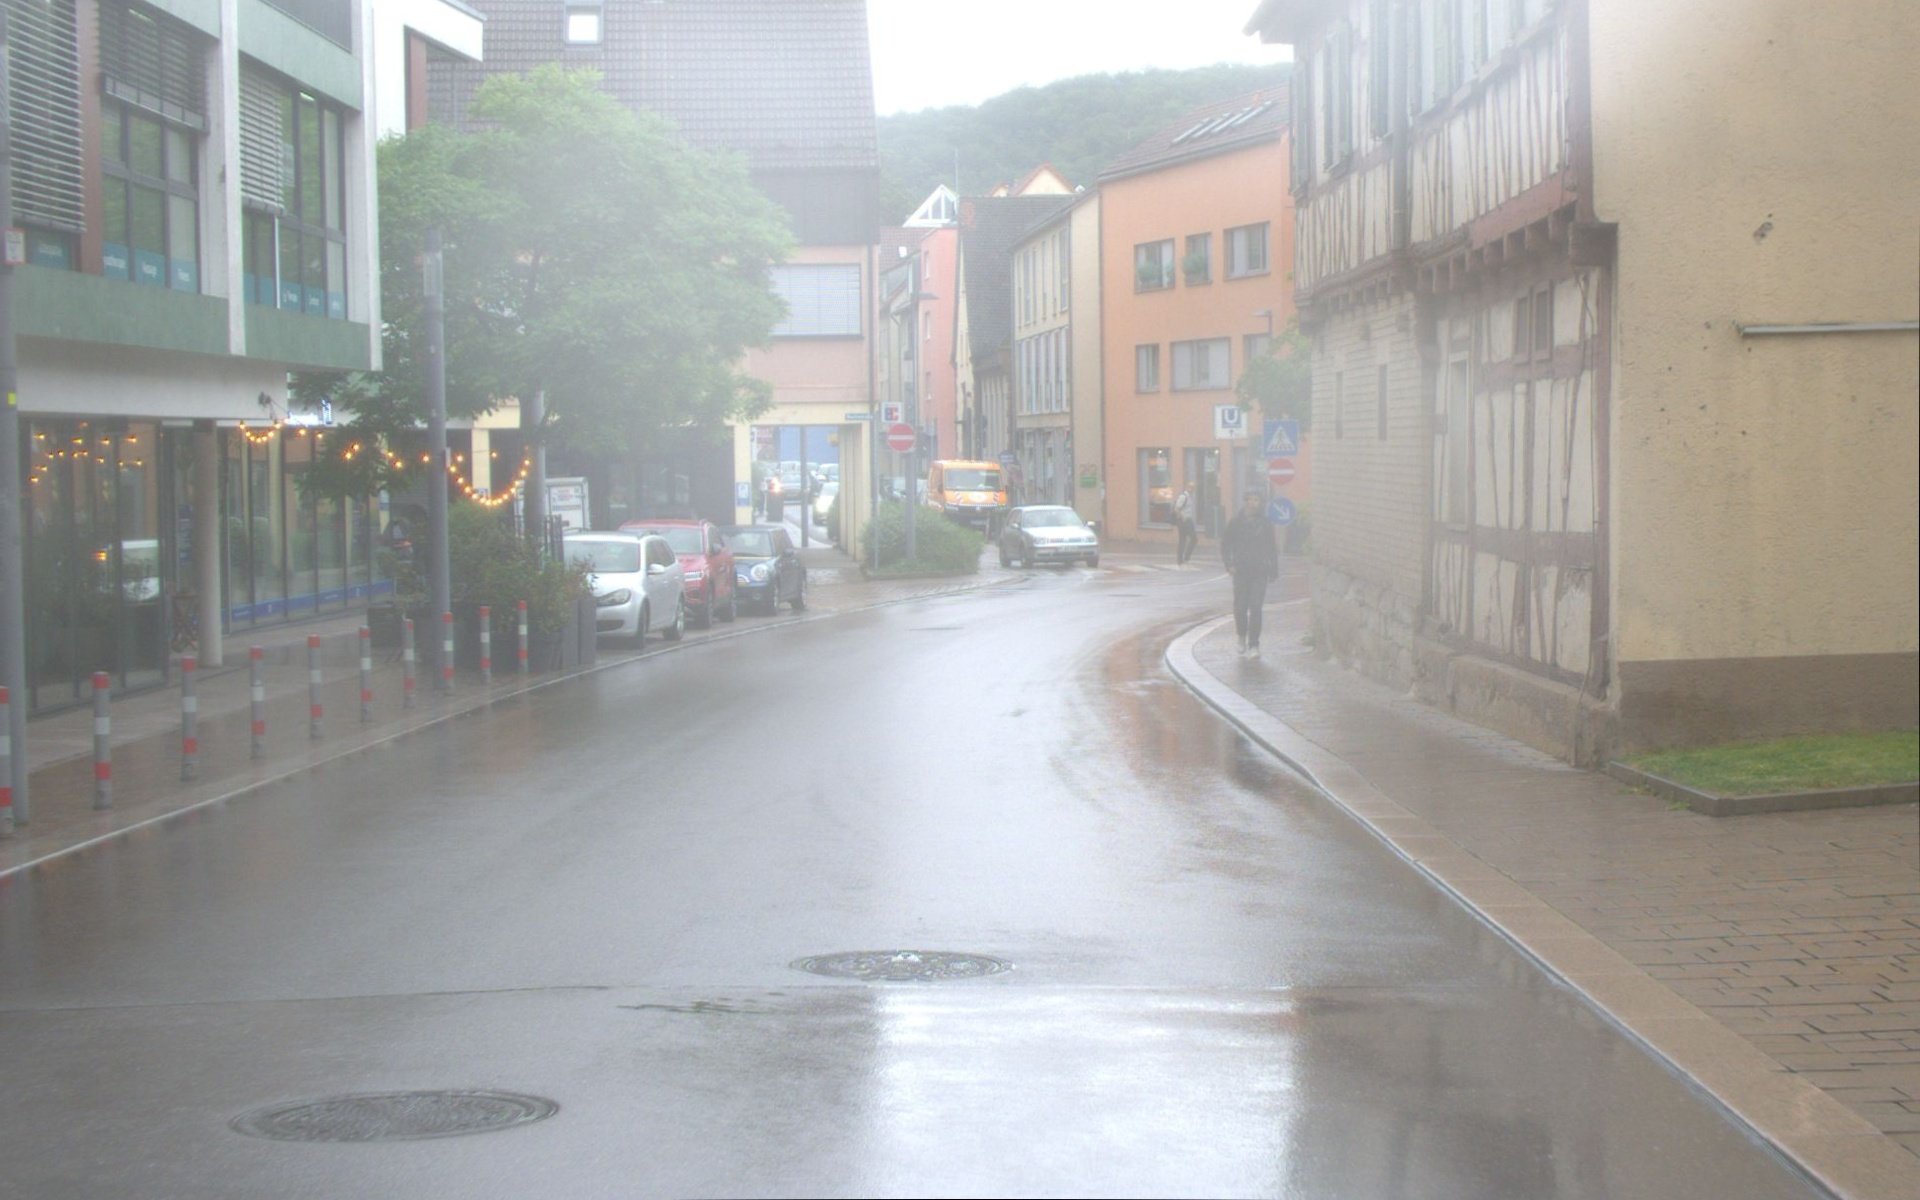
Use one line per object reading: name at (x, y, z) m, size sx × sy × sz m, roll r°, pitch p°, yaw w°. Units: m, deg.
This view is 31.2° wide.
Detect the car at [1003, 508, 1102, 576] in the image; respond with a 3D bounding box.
car at (2.094, -1.333, 78.477) m, size 1.790 × 1.412 × 4.030 m, roll -3°, pitch 1°, yaw -4°

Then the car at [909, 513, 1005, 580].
car at (-0.086, -1.241, 78.660) m, size 1.714 × 1.453 × 3.911 m, roll 0°, pitch 2°, yaw -7°

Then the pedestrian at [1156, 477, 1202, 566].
pedestrian at (4.735, -1.706, 74.319) m, size 0.861 × 1.908 × 0.757 m, roll 0°, pitch 2°, yaw 14°

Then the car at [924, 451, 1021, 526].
car at (0.347, -3.383, 104.682) m, size 2.103 × 2.139 × 4.868 m, roll -3°, pitch 2°, yaw -9°

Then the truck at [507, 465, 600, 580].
truck at (-8.371, -1.632, 71.033) m, size 1.597 × 2.055 × 3.194 m, roll -3°, pitch 6°, yaw -2°

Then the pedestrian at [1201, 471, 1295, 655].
pedestrian at (3.030, -0.397, 36.274) m, size 0.810 × 1.878 × 0.908 m, roll -3°, pitch 1°, yaw -2°

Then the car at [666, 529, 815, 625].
car at (-3.523, -0.402, 55.804) m, size 1.715 × 1.453 × 3.909 m, roll 0°, pitch 2°, yaw 7°

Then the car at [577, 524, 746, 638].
car at (-4.365, -0.308, 50.840) m, size 1.787 × 1.571 × 4.106 m, roll -1°, pitch 1°, yaw 5°

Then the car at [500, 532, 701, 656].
car at (-4.636, -0.117, 44.948) m, size 1.787 × 1.493 × 4.454 m, roll -1°, pitch 1°, yaw 5°

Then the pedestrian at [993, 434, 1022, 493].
pedestrian at (1.599, -4.624, 116.439) m, size 0.866 × 2.006 × 0.708 m, roll -1°, pitch 2°, yaw -8°

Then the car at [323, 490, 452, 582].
car at (-11.639, -1.333, 70.135) m, size 1.812 × 1.612 × 4.001 m, roll -1°, pitch 5°, yaw 2°
